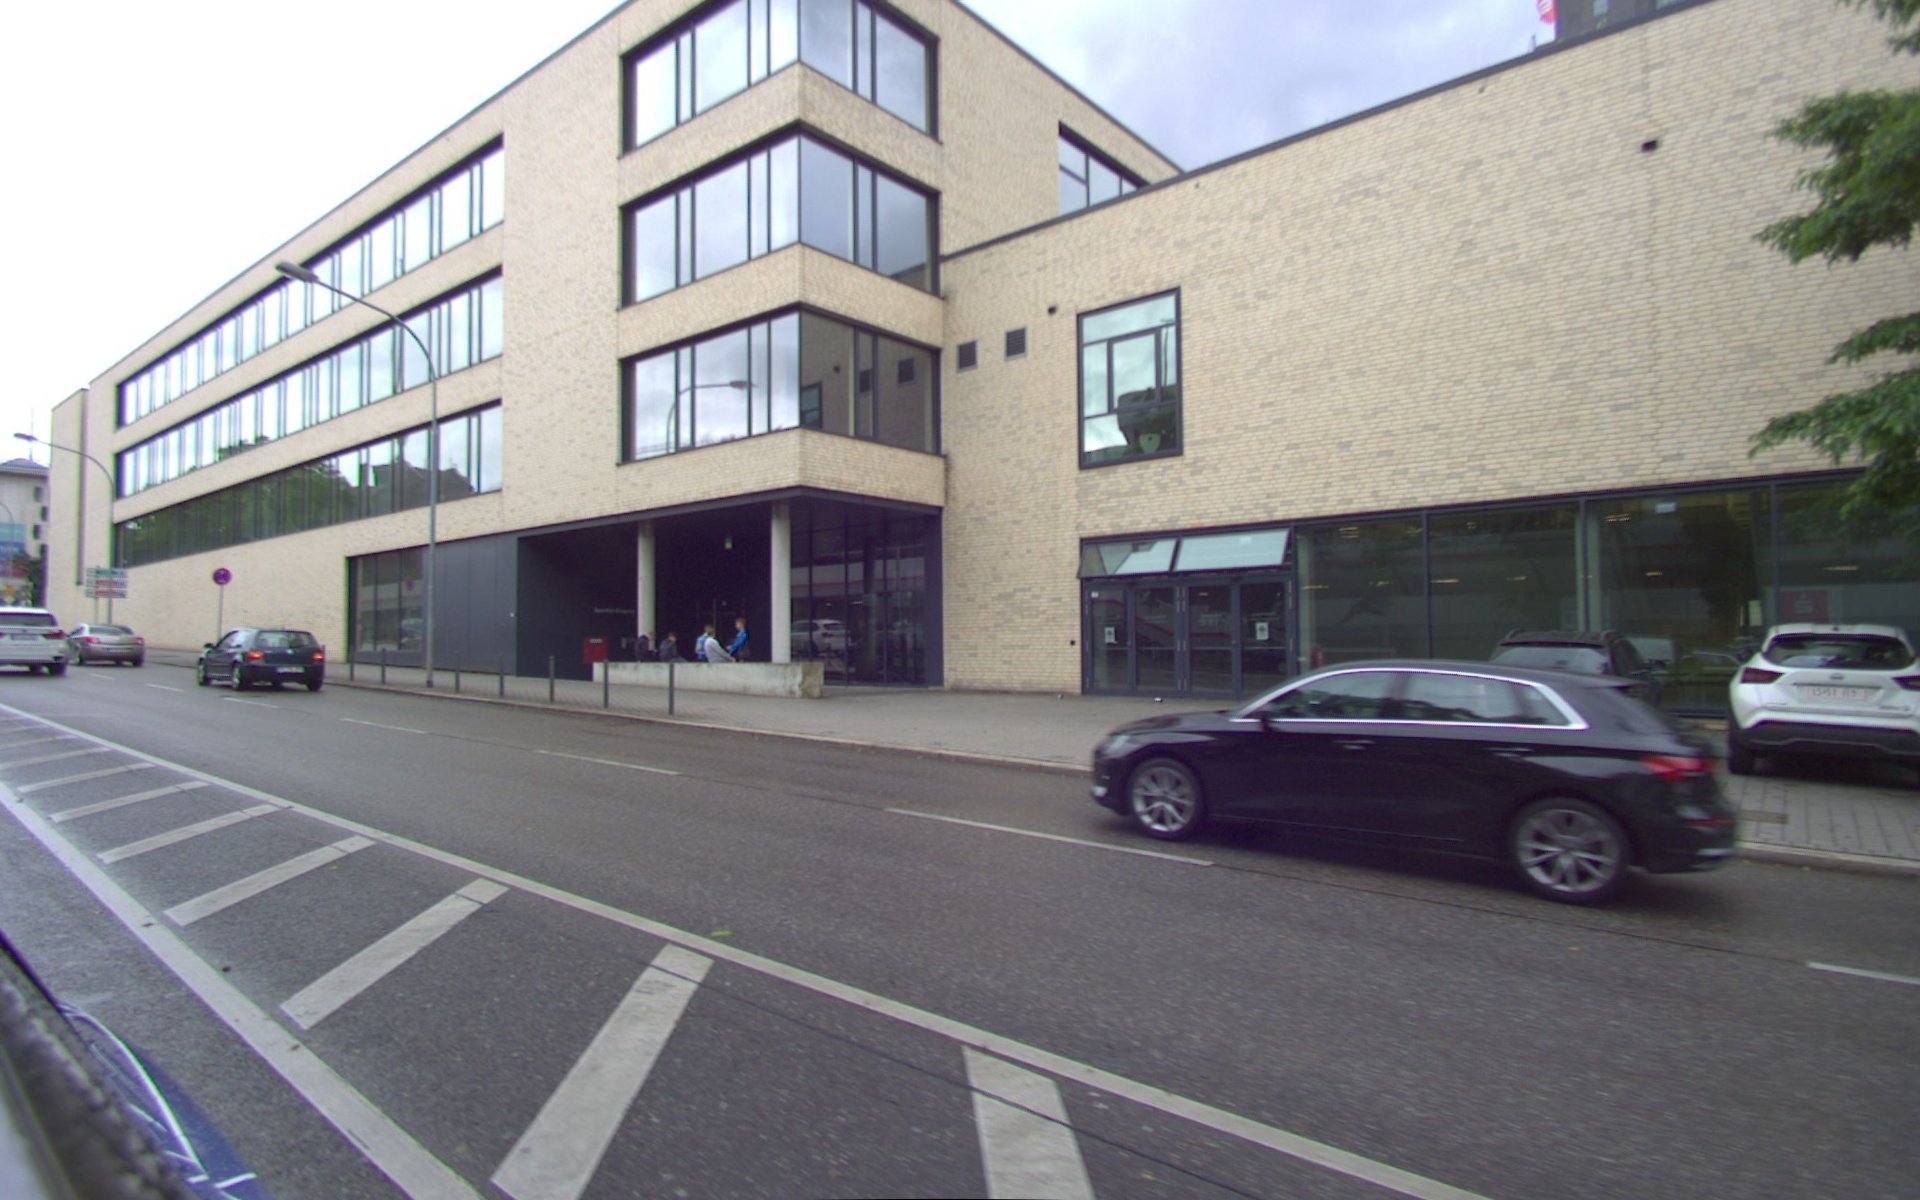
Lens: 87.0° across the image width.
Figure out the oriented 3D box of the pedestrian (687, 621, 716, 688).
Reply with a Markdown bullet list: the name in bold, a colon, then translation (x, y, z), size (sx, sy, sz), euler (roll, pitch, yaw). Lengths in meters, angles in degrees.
- **pedestrian**: translation (-5.891, 1.235, 23.043), size (0.462, 1.486, 0.445), euler (0, 0, 36)

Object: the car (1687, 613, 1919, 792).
- **car**: translation (9.607, 0.965, 11.278), size (2.000, 1.559, 4.131), euler (0, 0, 42)

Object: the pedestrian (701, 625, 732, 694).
- **pedestrian**: translation (-5.409, 1.304, 22.467), size (0.527, 1.486, 0.437), euler (0, 0, 36)

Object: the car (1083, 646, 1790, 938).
- **car**: translation (3.126, 1.092, 7.171), size (4.194, 1.404, 1.716), euler (-1, -4, 38)

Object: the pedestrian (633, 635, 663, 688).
- **pedestrian**: translation (-7.461, 1.466, 24.215), size (0.422, 1.224, 0.542), euler (0, 0, 43)

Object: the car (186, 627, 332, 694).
- **car**: translation (-16.471, 1.386, 23.716), size (3.967, 1.423, 1.728), euler (-1, -4, 39)

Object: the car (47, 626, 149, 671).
- **car**: translation (-28.901, 1.608, 33.901), size (4.225, 1.399, 1.811), euler (-1, -4, 39)

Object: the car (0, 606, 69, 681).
- **car**: translation (-25.246, 1.116, 26.616), size (4.569, 1.825, 1.872), euler (-1, -4, 38)

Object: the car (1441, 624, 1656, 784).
- **car**: translation (7.422, 1.111, 12.589), size (1.995, 1.506, 4.141), euler (0, 0, 34)

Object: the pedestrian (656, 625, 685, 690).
- **pedestrian**: translation (-6.751, 1.332, 23.587), size (0.462, 1.486, 0.445), euler (0, 0, 36)

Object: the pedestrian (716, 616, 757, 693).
- **pedestrian**: translation (-5.166, 1.247, 23.379), size (0.704, 1.727, 0.628), euler (0, 0, 41)
